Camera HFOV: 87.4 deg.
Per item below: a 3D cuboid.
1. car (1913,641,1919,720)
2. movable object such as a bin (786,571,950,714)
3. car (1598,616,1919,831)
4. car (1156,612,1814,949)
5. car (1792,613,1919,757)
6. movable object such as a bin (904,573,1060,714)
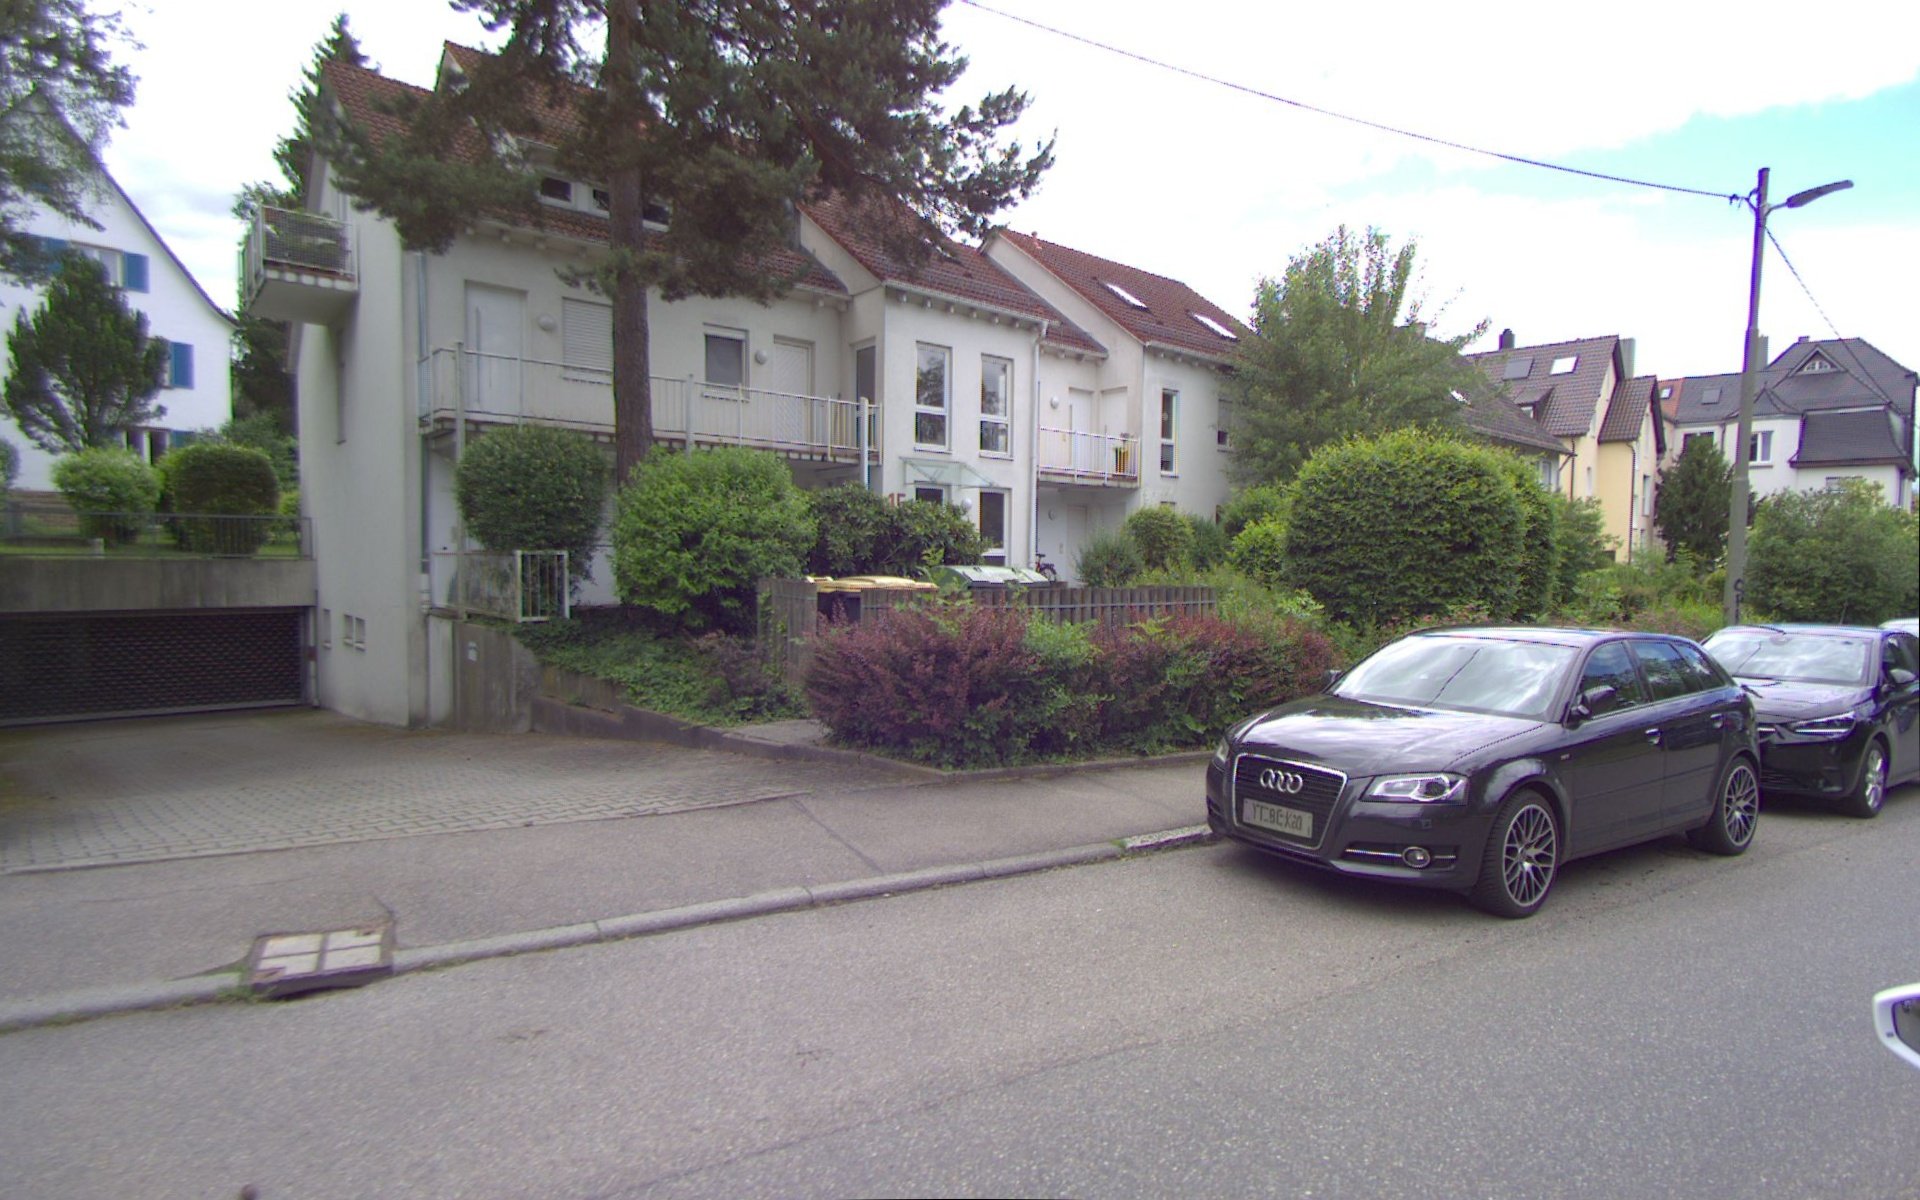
[{"bbox_3d":[15.522,1.025,14.711,3.892,1.500,1.610,1,3,-38],"label":"car"},{"bbox_3d":[-0.987,0.396,10.715,1.380,1.382,1.106,-1,3,-35],"label":"movable object such as a bin"},{"bbox_3d":[7.627,0.926,8.991,4.288,1.461,1.639,1,1,-34],"label":"car"},{"bbox_3d":[3.488,0.847,6.371,4.455,1.437,1.725,1,0,-33],"label":"car"},{"bbox_3d":[11.859,0.969,12.102,4.085,1.500,1.750,1,1,-34],"label":"car"},{"bbox_3d":[0.248,0.449,11.579,1.438,1.487,1.085,-1,3,-35],"label":"movable object such as a bin"}]
